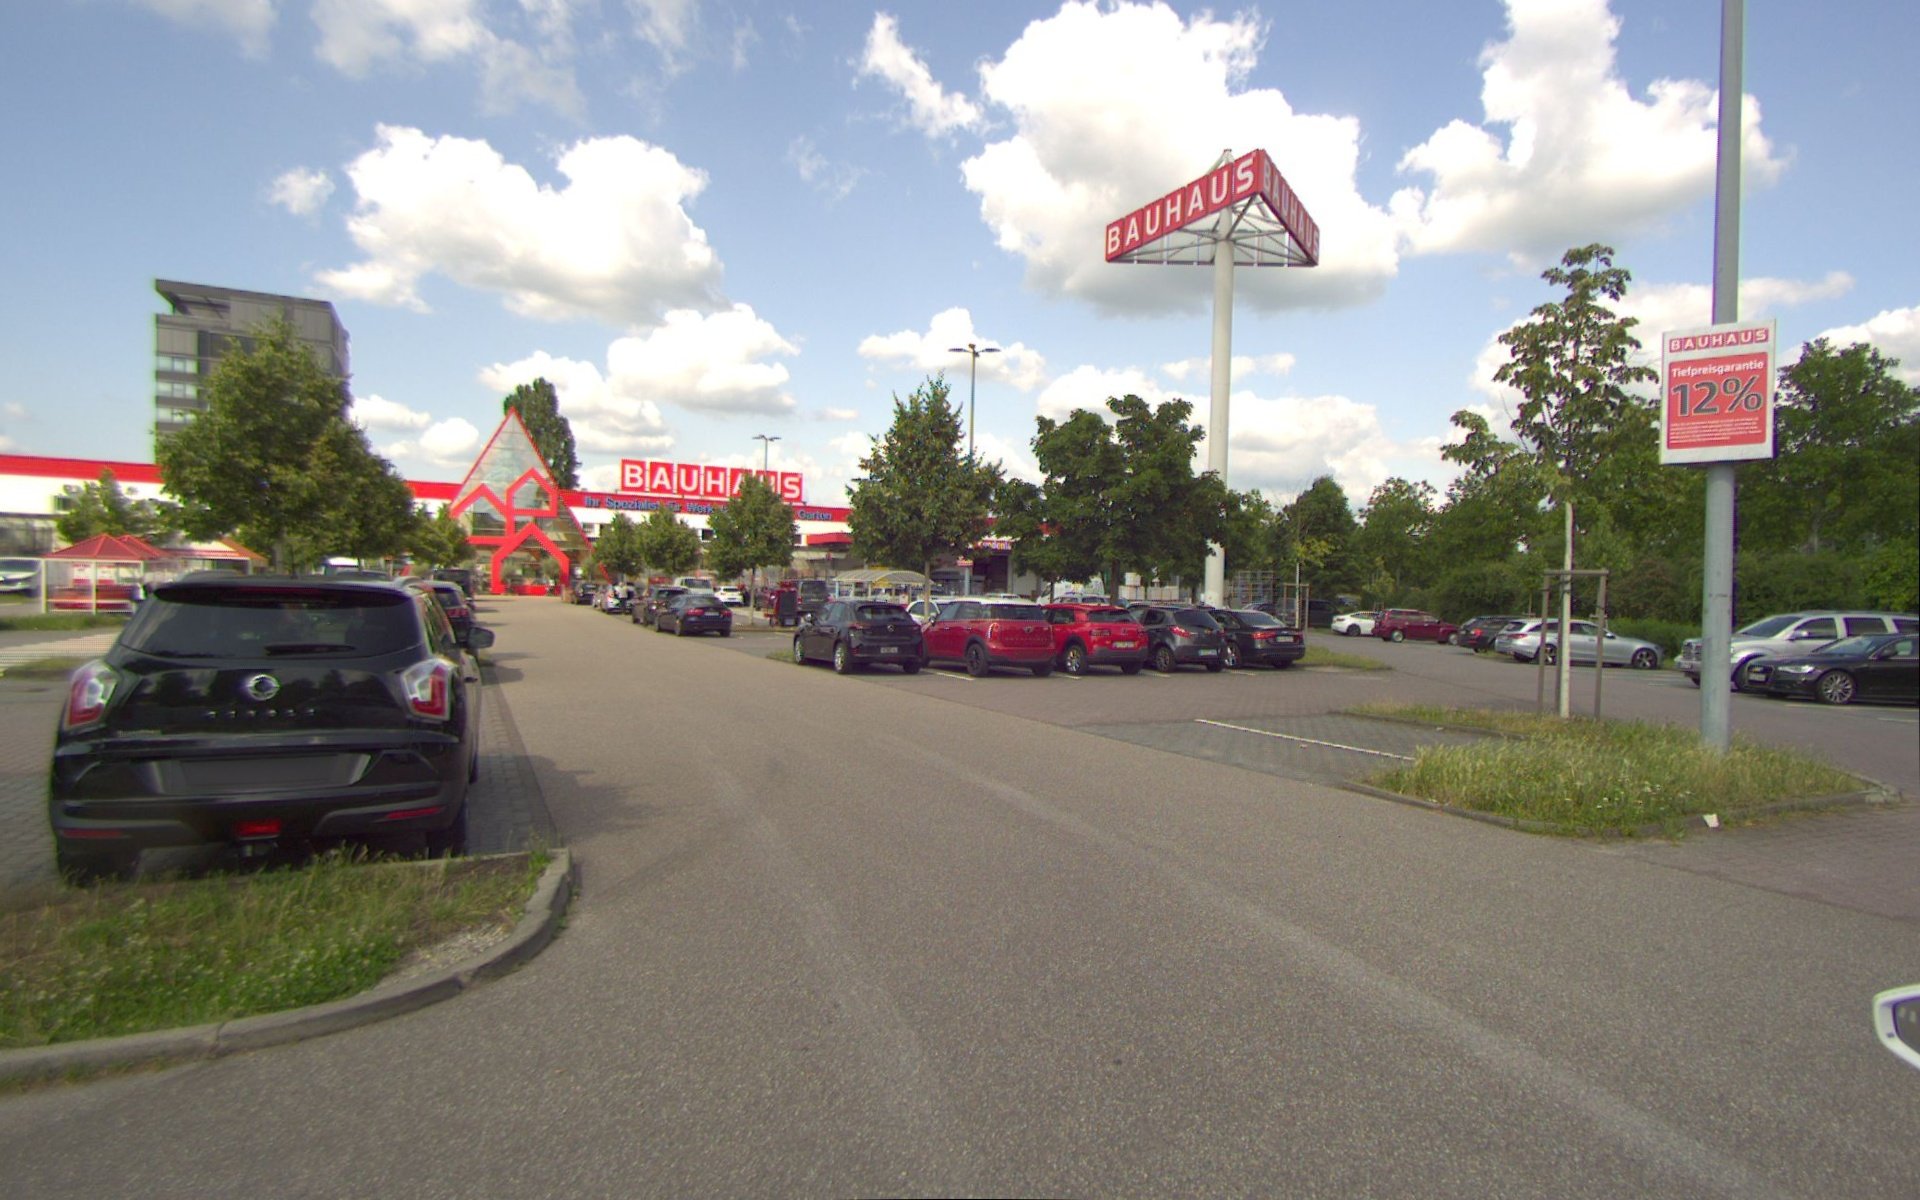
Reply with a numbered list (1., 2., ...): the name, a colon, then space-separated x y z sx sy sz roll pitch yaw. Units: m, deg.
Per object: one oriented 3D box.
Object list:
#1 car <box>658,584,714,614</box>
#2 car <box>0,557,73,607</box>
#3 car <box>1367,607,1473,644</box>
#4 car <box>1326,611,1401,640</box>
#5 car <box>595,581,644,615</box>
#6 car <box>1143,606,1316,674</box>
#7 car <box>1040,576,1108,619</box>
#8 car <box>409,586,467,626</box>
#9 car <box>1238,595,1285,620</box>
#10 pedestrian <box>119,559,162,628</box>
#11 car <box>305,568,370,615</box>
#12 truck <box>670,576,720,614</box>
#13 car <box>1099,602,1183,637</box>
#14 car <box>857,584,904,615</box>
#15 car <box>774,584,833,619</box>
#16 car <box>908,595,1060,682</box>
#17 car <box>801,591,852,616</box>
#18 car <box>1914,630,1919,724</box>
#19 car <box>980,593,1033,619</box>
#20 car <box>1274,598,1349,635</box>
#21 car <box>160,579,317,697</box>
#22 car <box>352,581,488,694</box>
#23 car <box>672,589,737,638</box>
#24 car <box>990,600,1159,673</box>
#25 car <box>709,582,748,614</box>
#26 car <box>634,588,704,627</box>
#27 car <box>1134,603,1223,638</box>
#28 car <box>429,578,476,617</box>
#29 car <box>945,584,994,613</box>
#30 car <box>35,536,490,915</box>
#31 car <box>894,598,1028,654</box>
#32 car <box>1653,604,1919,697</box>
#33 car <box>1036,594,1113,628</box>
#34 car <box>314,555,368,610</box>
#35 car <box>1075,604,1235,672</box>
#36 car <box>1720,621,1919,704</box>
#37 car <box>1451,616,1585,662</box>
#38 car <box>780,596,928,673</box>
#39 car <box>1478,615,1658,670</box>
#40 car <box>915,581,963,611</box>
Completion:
1. car: -14.493 -0.072 52.944 1.975 1.529 3.970 1 0 -28
2. car: -42.125 -0.815 45.268 1.975 2.040 4.774 5 -1 -27
3. car: 22.208 1.197 48.660 4.233 1.617 2.001 1 1 6
4. car: 22.540 1.420 56.215 3.570 1.487 1.635 2 -1 7
5. car: -17.041 -0.125 50.204 1.708 1.528 3.212 5 -1 -28
6. car: 6.675 0.942 25.387 1.747 1.452 4.514 1 0 -25
7. car: 7.241 -0.184 64.270 2.026 2.543 4.696 2 1 -26
8. car: -19.464 0.210 37.556 1.719 1.405 3.540 1 0 -24
9. car: 19.929 0.505 66.336 2.649 1.450 1.349 5 -1 -19
10. pedestrian: -24.661 -0.185 30.248 0.807 2.040 0.908 1 1 -28
11. car: -28.360 -0.394 45.839 1.973 2.040 3.976 1 0 -24
12. truck: -15.874 -0.297 59.929 1.836 2.040 5.374 4 -1 -25
13. car: 8.194 0.875 45.746 1.705 1.466 3.742 1 1 -31
14. car: -4.617 -0.055 58.123 1.582 1.767 3.144 0 1 -28
15. car: -8.685 0.059 55.571 1.976 1.802 3.968 1 0 -29
16. car: 0.421 0.743 20.960 1.689 1.602 3.421 1 1 -29
17. car: -8.130 0.187 61.044 1.723 1.357 3.436 5 -2 -31
18. car: 17.632 1.307 15.452 3.999 1.529 1.691 1 0 9
19. car: 2.806 0.341 61.298 1.524 1.423 3.599 5 -1 -28
20. car: 21.484 1.011 61.447 4.000 2.045 1.936 3 -1 -23
21. car: -11.387 0.521 16.070 1.764 1.646 3.674 1 1 -32
22. car: -8.988 0.523 16.790 1.762 1.646 4.054 1 1 -28
23. car: -9.054 0.435 35.493 1.676 1.624 3.202 1 0 -24
24. car: 2.457 0.751 22.536 1.745 1.417 4.057 1 0 -29
25. car: -16.515 -0.125 71.521 1.972 2.040 3.979 4 -1 -22
26. car: -12.198 0.282 41.915 1.975 1.487 4.384 1 0 -27
27. car: 10.191 0.948 47.114 1.807 1.458 4.057 1 1 -30
28. car: -23.844 -0.122 47.143 1.678 1.635 2.634 5 -2 -32
29. car: 0.743 -0.106 77.777 1.977 2.040 3.968 5 -1 -29
30. car: -4.036 0.531 6.511 1.712 1.646 3.939 1 0 -25
31. car: -0.074 0.669 27.793 1.871 1.371 4.248 1 0 -29
32. car: 18.922 1.085 22.635 5.043 1.867 1.992 1 1 6
33. car: 5.678 0.533 50.390 1.887 1.617 3.970 1 0 -28
34. car: -32.167 -0.892 52.245 2.214 2.671 4.292 2 0 -32
35. car: 4.494 0.841 23.757 1.560 1.387 3.971 1 0 -28
36. car: 18.384 1.253 20.179 4.629 1.470 1.841 1 1 9
37. car: 20.423 1.420 36.891 3.919 1.399 1.700 3 -1 6
38. car: -2.303 0.650 20.944 1.708 1.387 3.854 1 0 -29
39. car: 19.316 1.324 32.093 4.560 1.524 1.785 1 1 7
40. car: -1.616 -0.328 76.213 1.976 2.040 3.969 5 -1 -29
